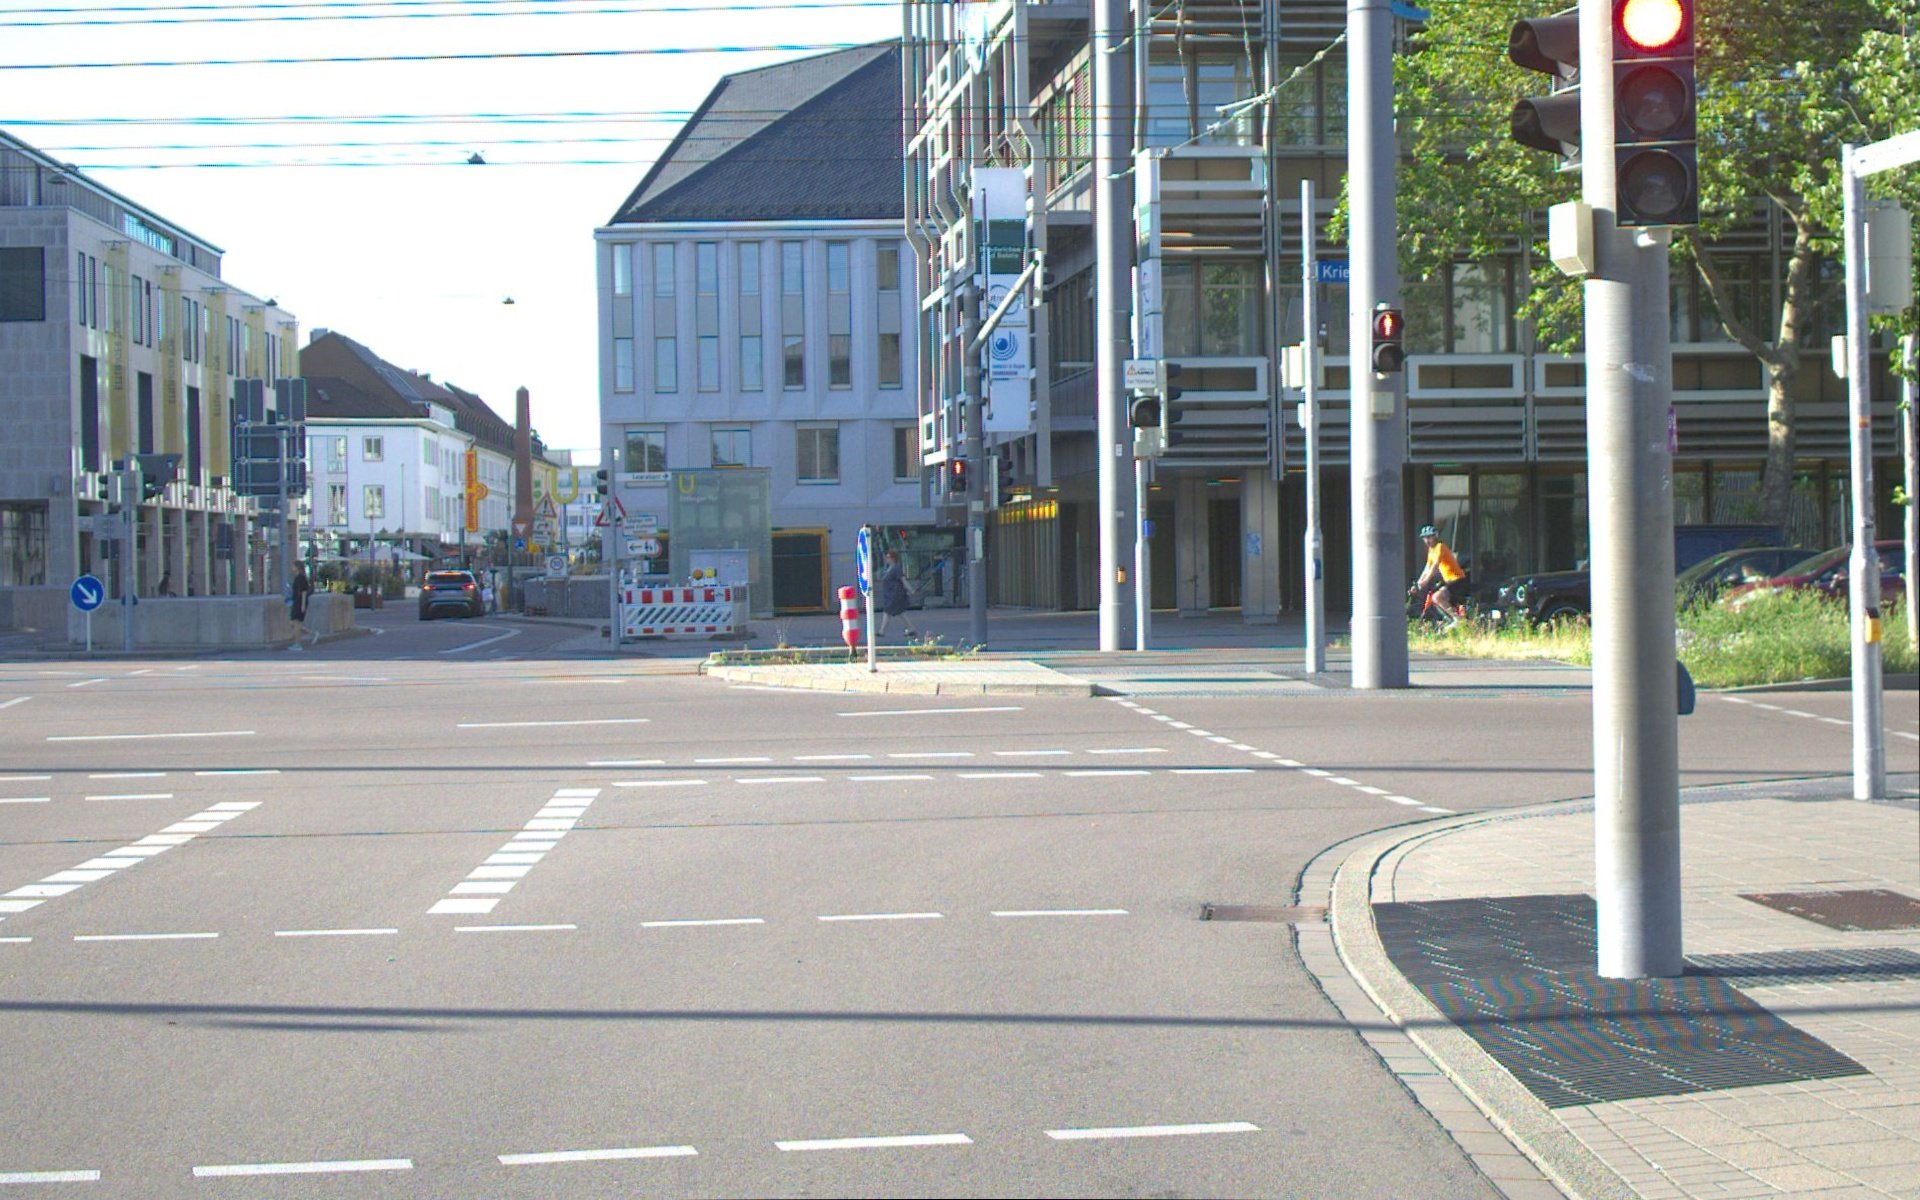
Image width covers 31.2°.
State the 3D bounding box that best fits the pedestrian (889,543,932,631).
[{"bbox_3d":[-0.934,-0.252,64.846,0.729,1.652,0.651,-1,1,-7],"label":"pedestrian"}]

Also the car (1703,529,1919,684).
[{"bbox_3d":[12.286,0.085,46.410,3.986,2.007,2.000,1,0,-3],"label":"car"}]

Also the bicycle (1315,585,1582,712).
[{"bbox_3d":[6.692,0.647,47.147,3.490,1.653,0.932,-1,1,-9],"label":"bicycle"}]

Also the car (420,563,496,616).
[{"bbox_3d":[-15.807,-0.352,108.424,2.199,1.601,4.327,-1,1,-6],"label":"car"}]

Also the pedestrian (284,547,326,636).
[{"bbox_3d":[-12.318,-0.165,64.658,0.663,1.652,0.755,-1,1,-3],"label":"pedestrian"}]

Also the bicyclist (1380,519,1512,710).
[{"bbox_3d":[6.660,0.188,47.141,1.567,2.571,0.932,-1,1,-9],"label":"bicyclist"}]

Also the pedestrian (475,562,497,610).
[{"bbox_3d":[-13.984,-0.427,101.493,0.609,1.406,0.570,-1,1,-6],"label":"pedestrian"}]

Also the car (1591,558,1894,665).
[{"bbox_3d":[11.492,0.156,50.661,3.986,1.503,1.868,0,1,-3],"label":"car"}]

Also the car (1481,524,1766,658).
[{"bbox_3d":[10.344,-0.145,53.778,3.986,2.007,2.000,1,0,-3],"label":"car"}]
